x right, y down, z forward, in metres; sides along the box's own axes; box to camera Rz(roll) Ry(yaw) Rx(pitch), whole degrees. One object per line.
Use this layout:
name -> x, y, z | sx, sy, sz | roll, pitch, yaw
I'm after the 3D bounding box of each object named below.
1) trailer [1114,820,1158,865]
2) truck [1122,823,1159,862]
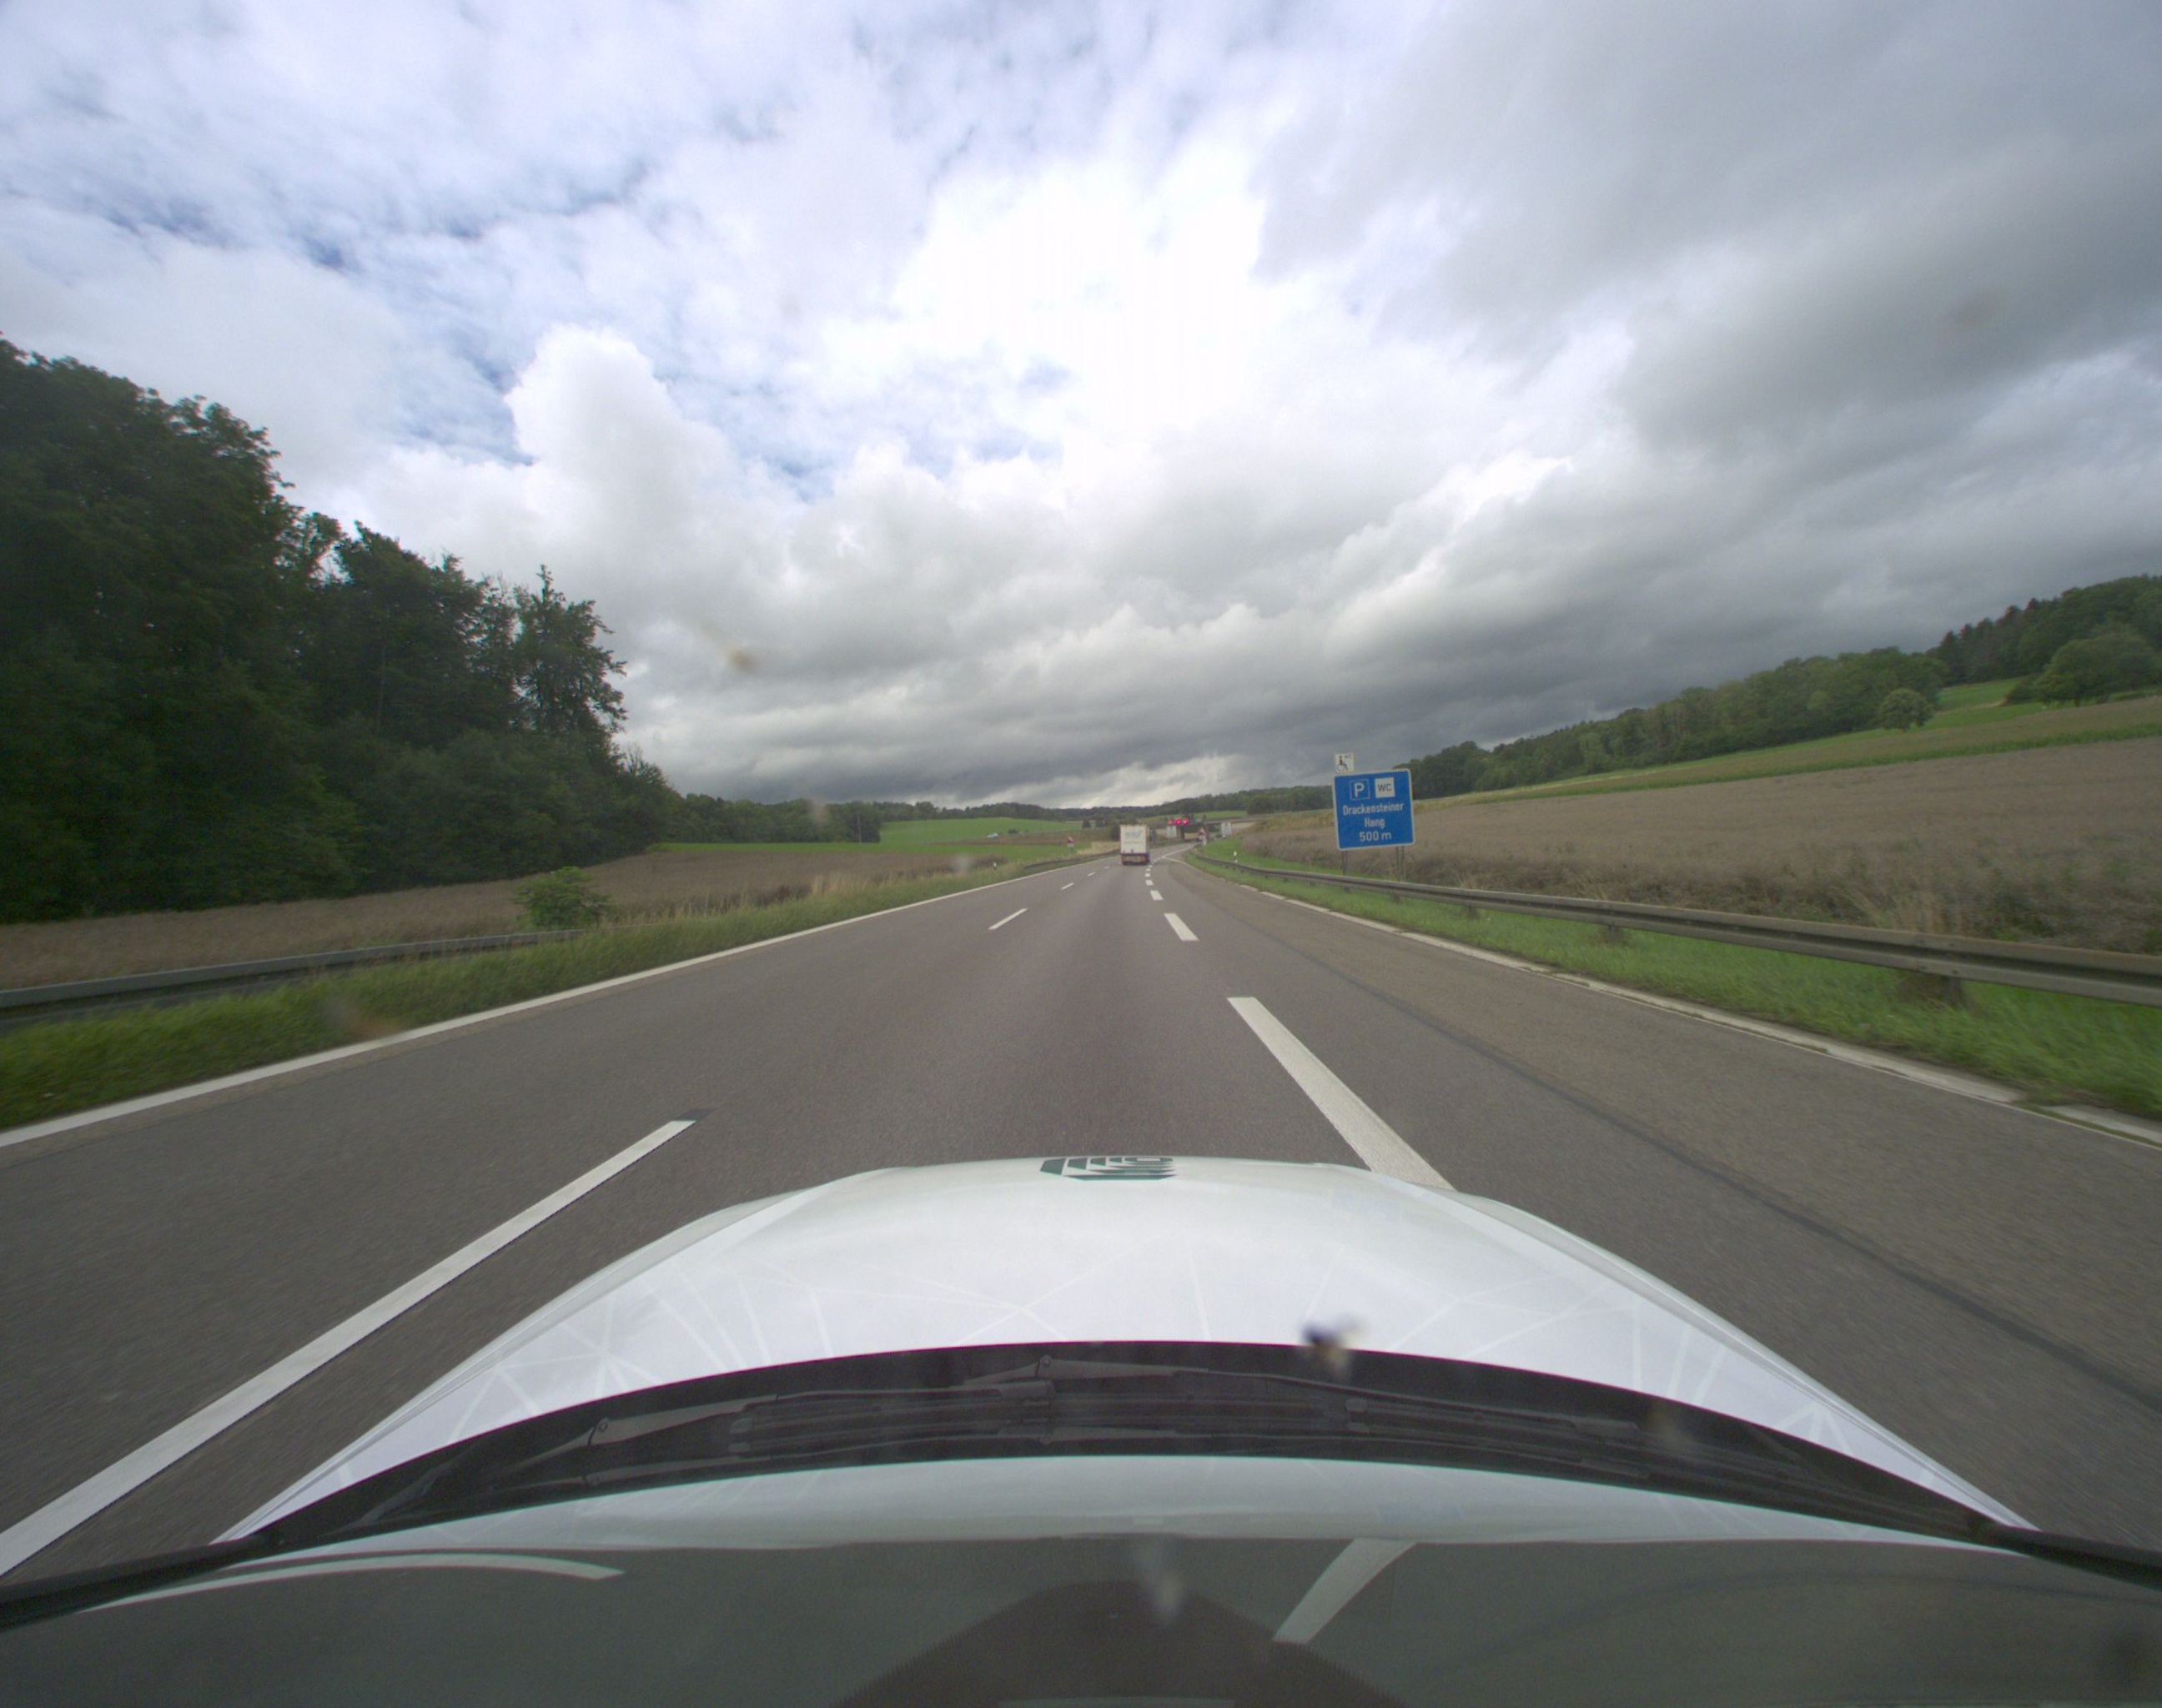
trailer -> 5.951, -1.183, 85.034 | 3.786, 4.174, 14.836 | -1, 0, 7
truck -> 6.830, -1.267, 92.333 | 3.768, 4.131, 8.279 | -1, 0, 6
